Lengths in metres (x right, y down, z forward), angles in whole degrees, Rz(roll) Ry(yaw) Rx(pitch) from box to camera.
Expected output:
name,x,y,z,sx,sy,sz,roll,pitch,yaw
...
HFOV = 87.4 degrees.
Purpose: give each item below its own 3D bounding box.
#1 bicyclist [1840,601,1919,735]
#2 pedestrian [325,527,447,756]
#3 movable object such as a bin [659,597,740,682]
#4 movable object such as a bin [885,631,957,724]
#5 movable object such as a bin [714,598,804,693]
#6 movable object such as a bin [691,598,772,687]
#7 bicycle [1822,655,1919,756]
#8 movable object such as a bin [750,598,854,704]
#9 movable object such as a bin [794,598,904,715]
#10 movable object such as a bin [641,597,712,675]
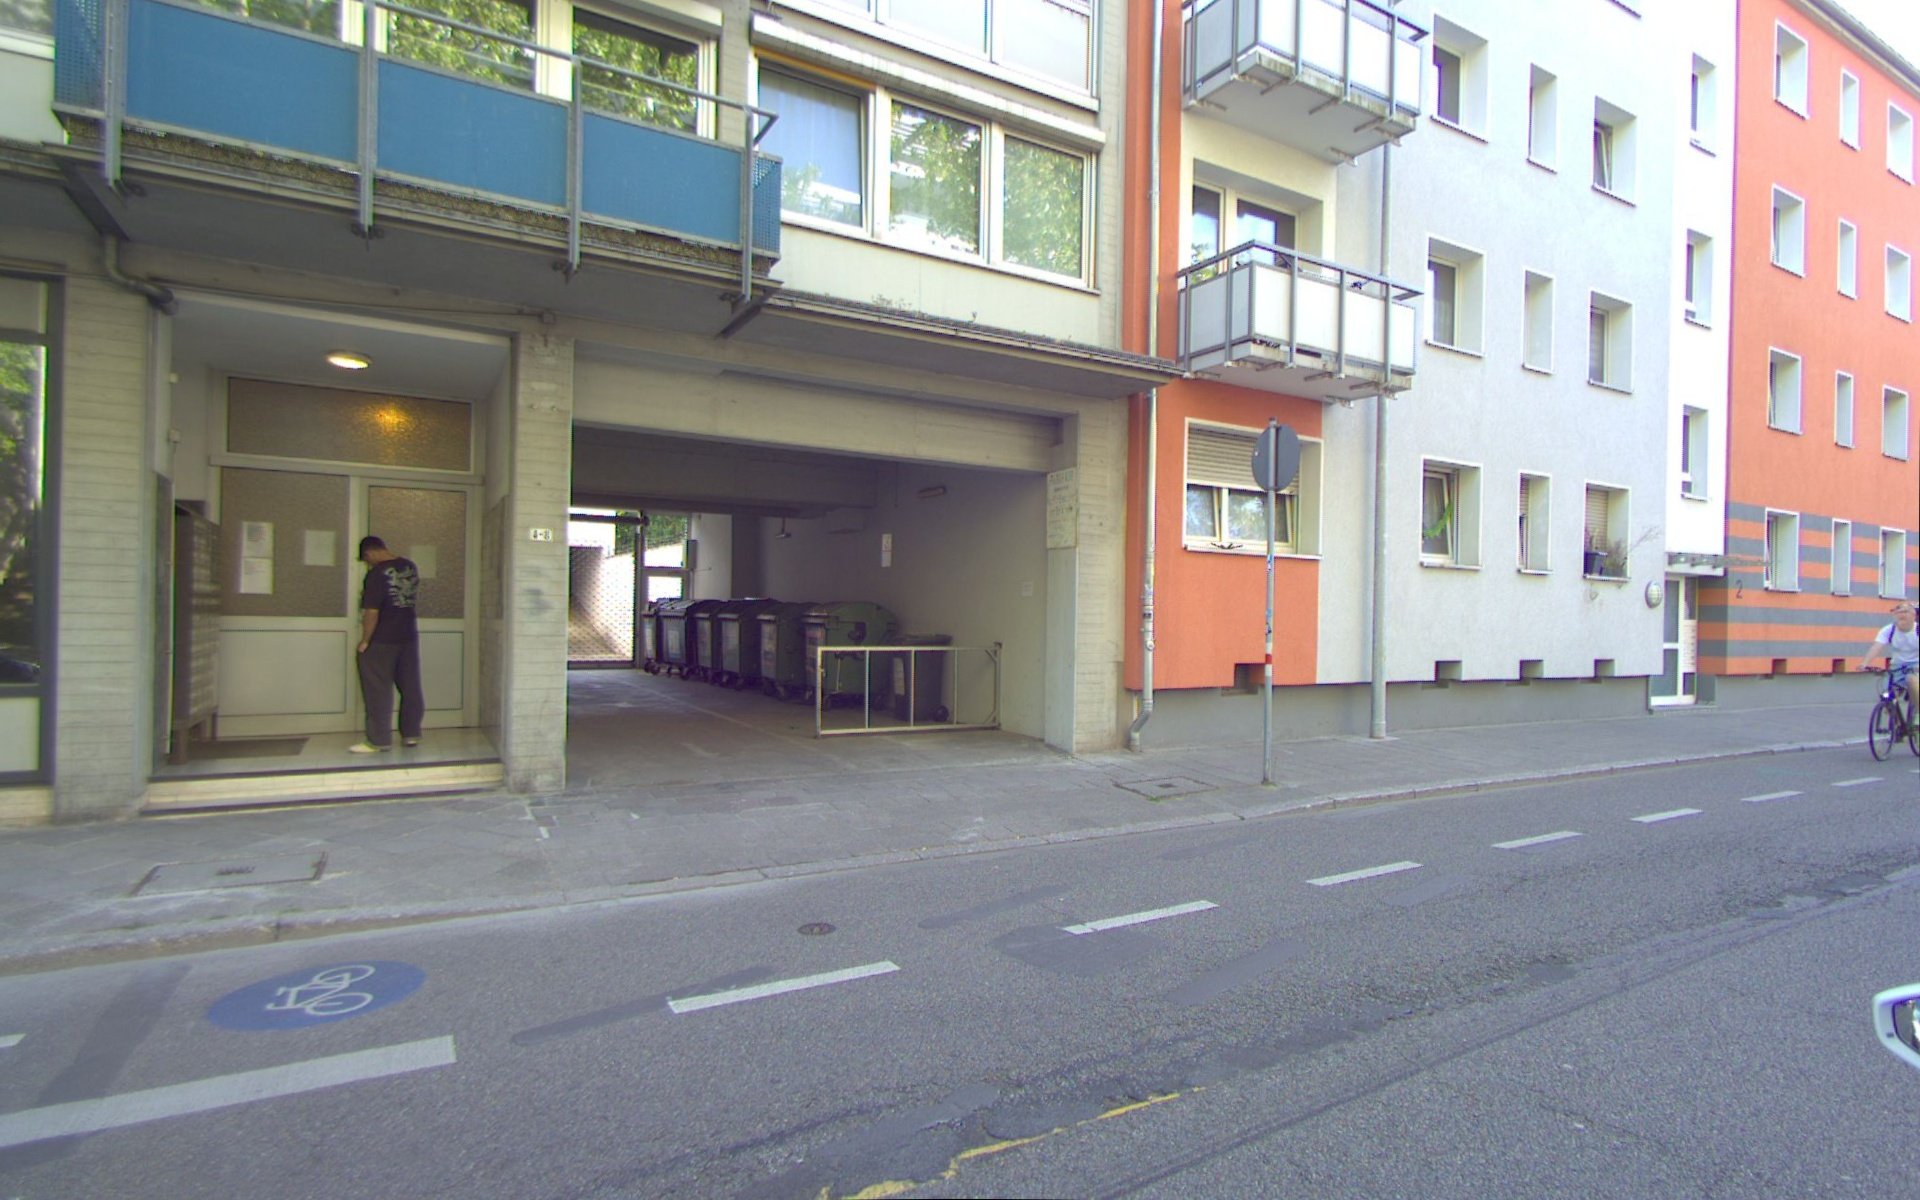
name,x,y,z,sx,sy,sz,roll,pitch,yaw
bicyclist,11.479,0.805,12.277,0.829,1.575,0.839,1,0,-28
pedestrian,-4.553,0.319,7.999,0.537,1.736,0.662,1,0,3
movable object such as a bin,-4.861,0.713,18.677,1.167,1.503,1.215,1,0,-30
movable object such as a bin,-0.485,0.944,12.462,0.687,1.094,0.579,1,0,-30
movable object such as a bin,-3.329,0.726,16.618,1.167,1.503,1.073,1,0,-30
movable object such as a bin,-4.029,0.724,17.637,1.080,1.503,1.159,1,0,-30
bicycle,11.499,1.255,12.300,1.814,1.093,0.859,1,0,-29
movable object such as a bin,-2.402,0.734,15.150,1.167,1.503,1.252,1,0,-30
movable object such as a bin,-1.536,0.743,13.772,1.086,1.503,1.251,1,0,-30
movable object such as a bin,-5.626,0.708,19.912,1.167,1.503,0.819,1,0,-30
